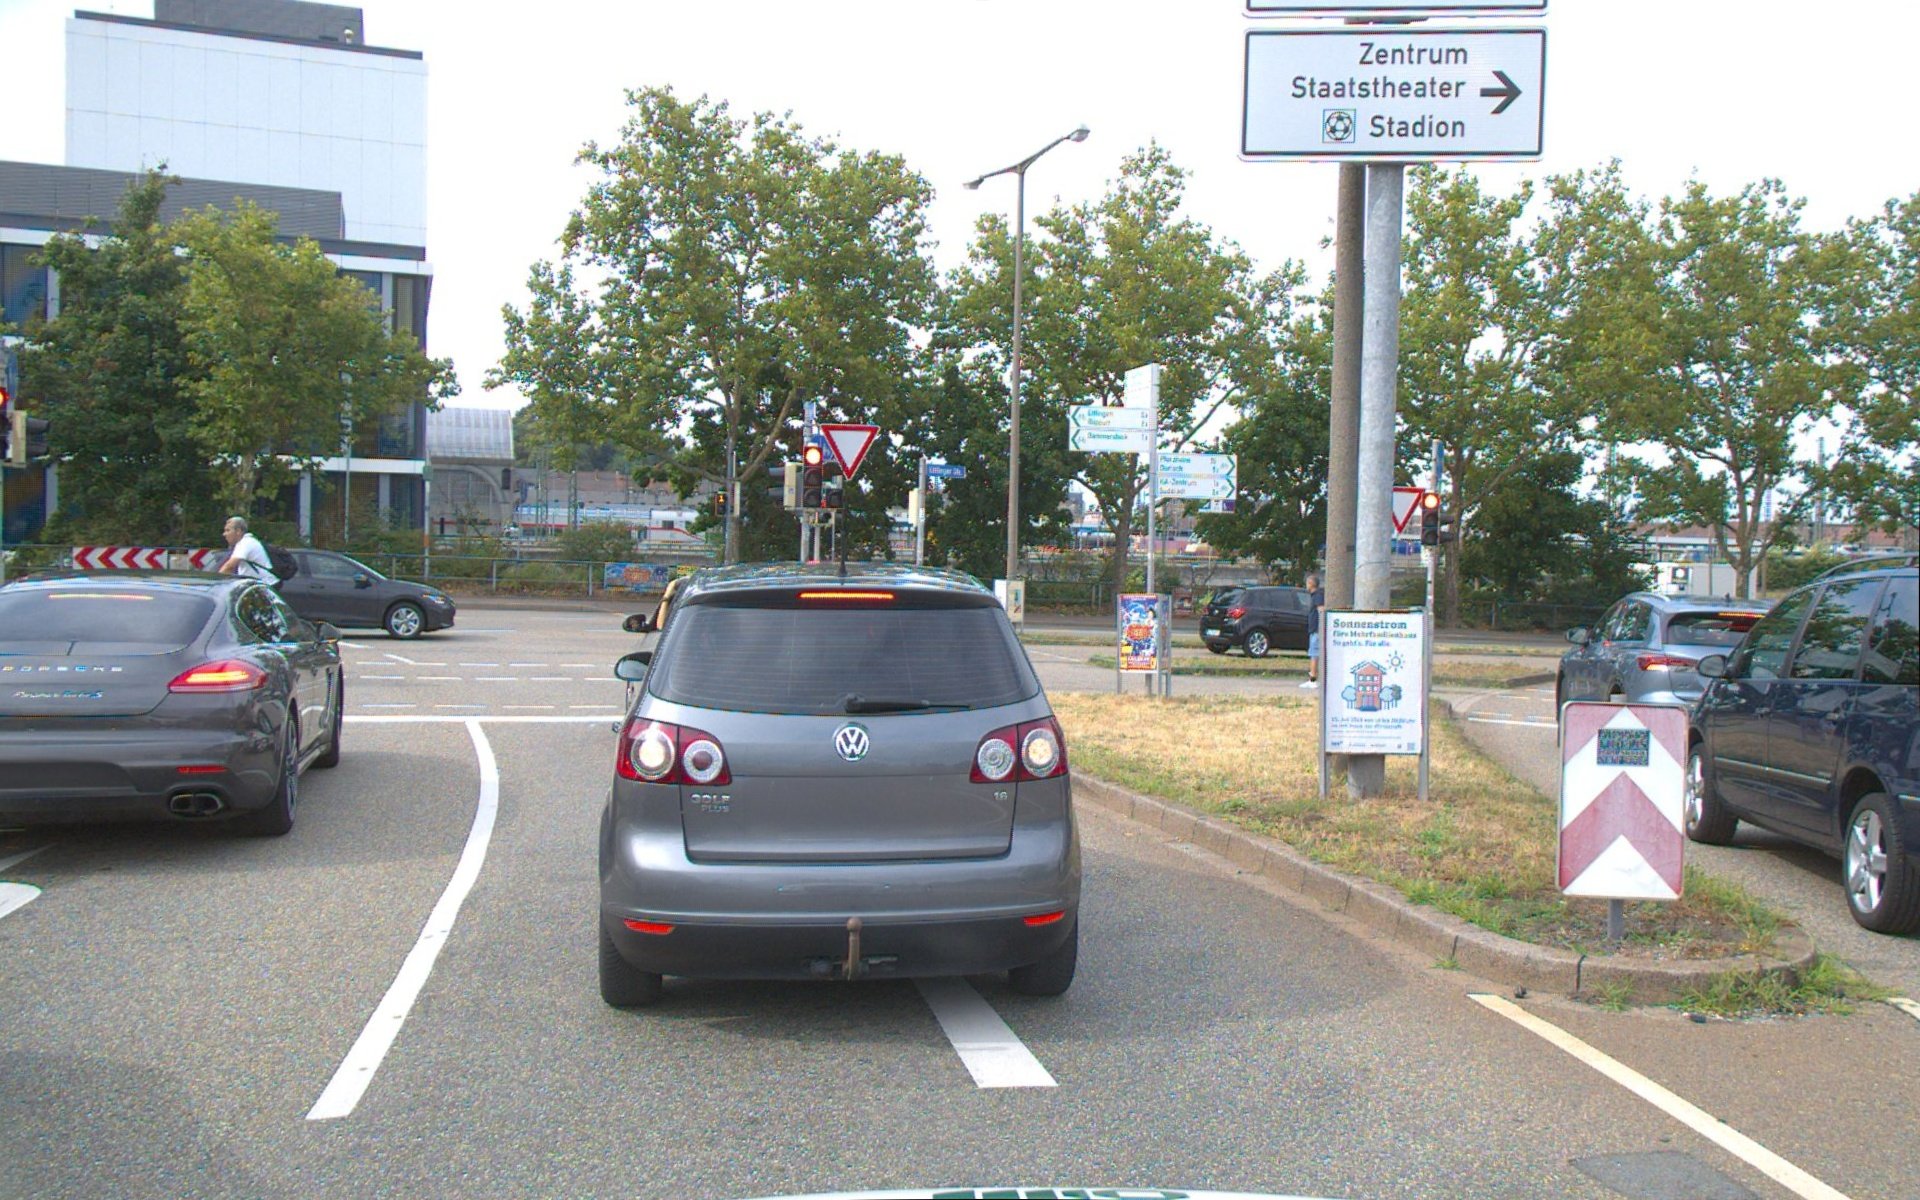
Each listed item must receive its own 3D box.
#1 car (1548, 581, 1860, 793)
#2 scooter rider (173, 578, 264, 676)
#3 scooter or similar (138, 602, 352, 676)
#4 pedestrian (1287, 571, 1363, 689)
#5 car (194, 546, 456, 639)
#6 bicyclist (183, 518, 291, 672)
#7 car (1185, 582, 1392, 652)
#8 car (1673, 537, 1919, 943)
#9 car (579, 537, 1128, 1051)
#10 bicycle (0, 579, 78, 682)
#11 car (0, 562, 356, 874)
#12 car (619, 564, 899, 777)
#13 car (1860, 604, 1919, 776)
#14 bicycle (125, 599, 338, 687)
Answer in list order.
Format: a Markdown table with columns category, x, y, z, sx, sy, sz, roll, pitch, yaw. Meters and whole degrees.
| category | x | y | z | sx | sy | sz | roll | pitch | yaw |
| --- | --- | --- | --- | --- | --- | --- | --- | --- | --- |
| car | 6.736 | 0.700 | 15.440 | 1.655 | 1.613 | 4.160 | 3 | 0 | 11 |
| scooter rider | -9.139 | 0.327 | 20.415 | 0.899 | 1.157 | 0.805 | 1 | 1 | -16 |
| scooter or similar | -8.821 | 0.480 | 20.513 | 2.340 | 0.864 | 0.805 | 1 | 1 | -16 |
| pedestrian | 5.599 | 0.444 | 25.363 | 1.025 | 1.740 | 0.854 | 2 | 1 | 17 |
| car | -10.625 | -0.121 | 27.921 | 3.996 | 1.476 | 1.693 | 1 | 1 | -20 |
| bicyclist | -8.334 | -0.061 | 19.101 | 1.096 | 1.726 | 0.808 | 1 | 1 | -22 |
| car | 6.877 | 0.354 | 34.652 | 4.000 | 1.391 | 1.691 | 1 | 1 | -22 |
| car | 5.264 | 0.648 | 8.681 | 1.713 | 1.754 | 4.141 | 3 | 0 | 9 |
| car | -0.608 | 0.582 | 7.210 | 1.709 | 1.573 | 4.074 | 1 | 0 | -9 |
| bicycle | -9.791 | 0.280 | 15.904 | 2.195 | 0.969 | 0.807 | 1 | 1 | -20 |
| car | -4.848 | 0.518 | 10.111 | 1.789 | 1.438 | 4.756 | 1 | 1 | -16 |
| car | -1.835 | 0.481 | 13.909 | 1.713 | 1.508 | 4.064 | 1 | 0 | -16 |
| car | 10.154 | 0.921 | 15.526 | 1.713 | 1.671 | 4.141 | 3 | 0 | 10 |
| bicycle | -8.364 | 0.485 | 19.098 | 2.197 | 0.969 | 0.806 | 1 | 1 | -22 |
